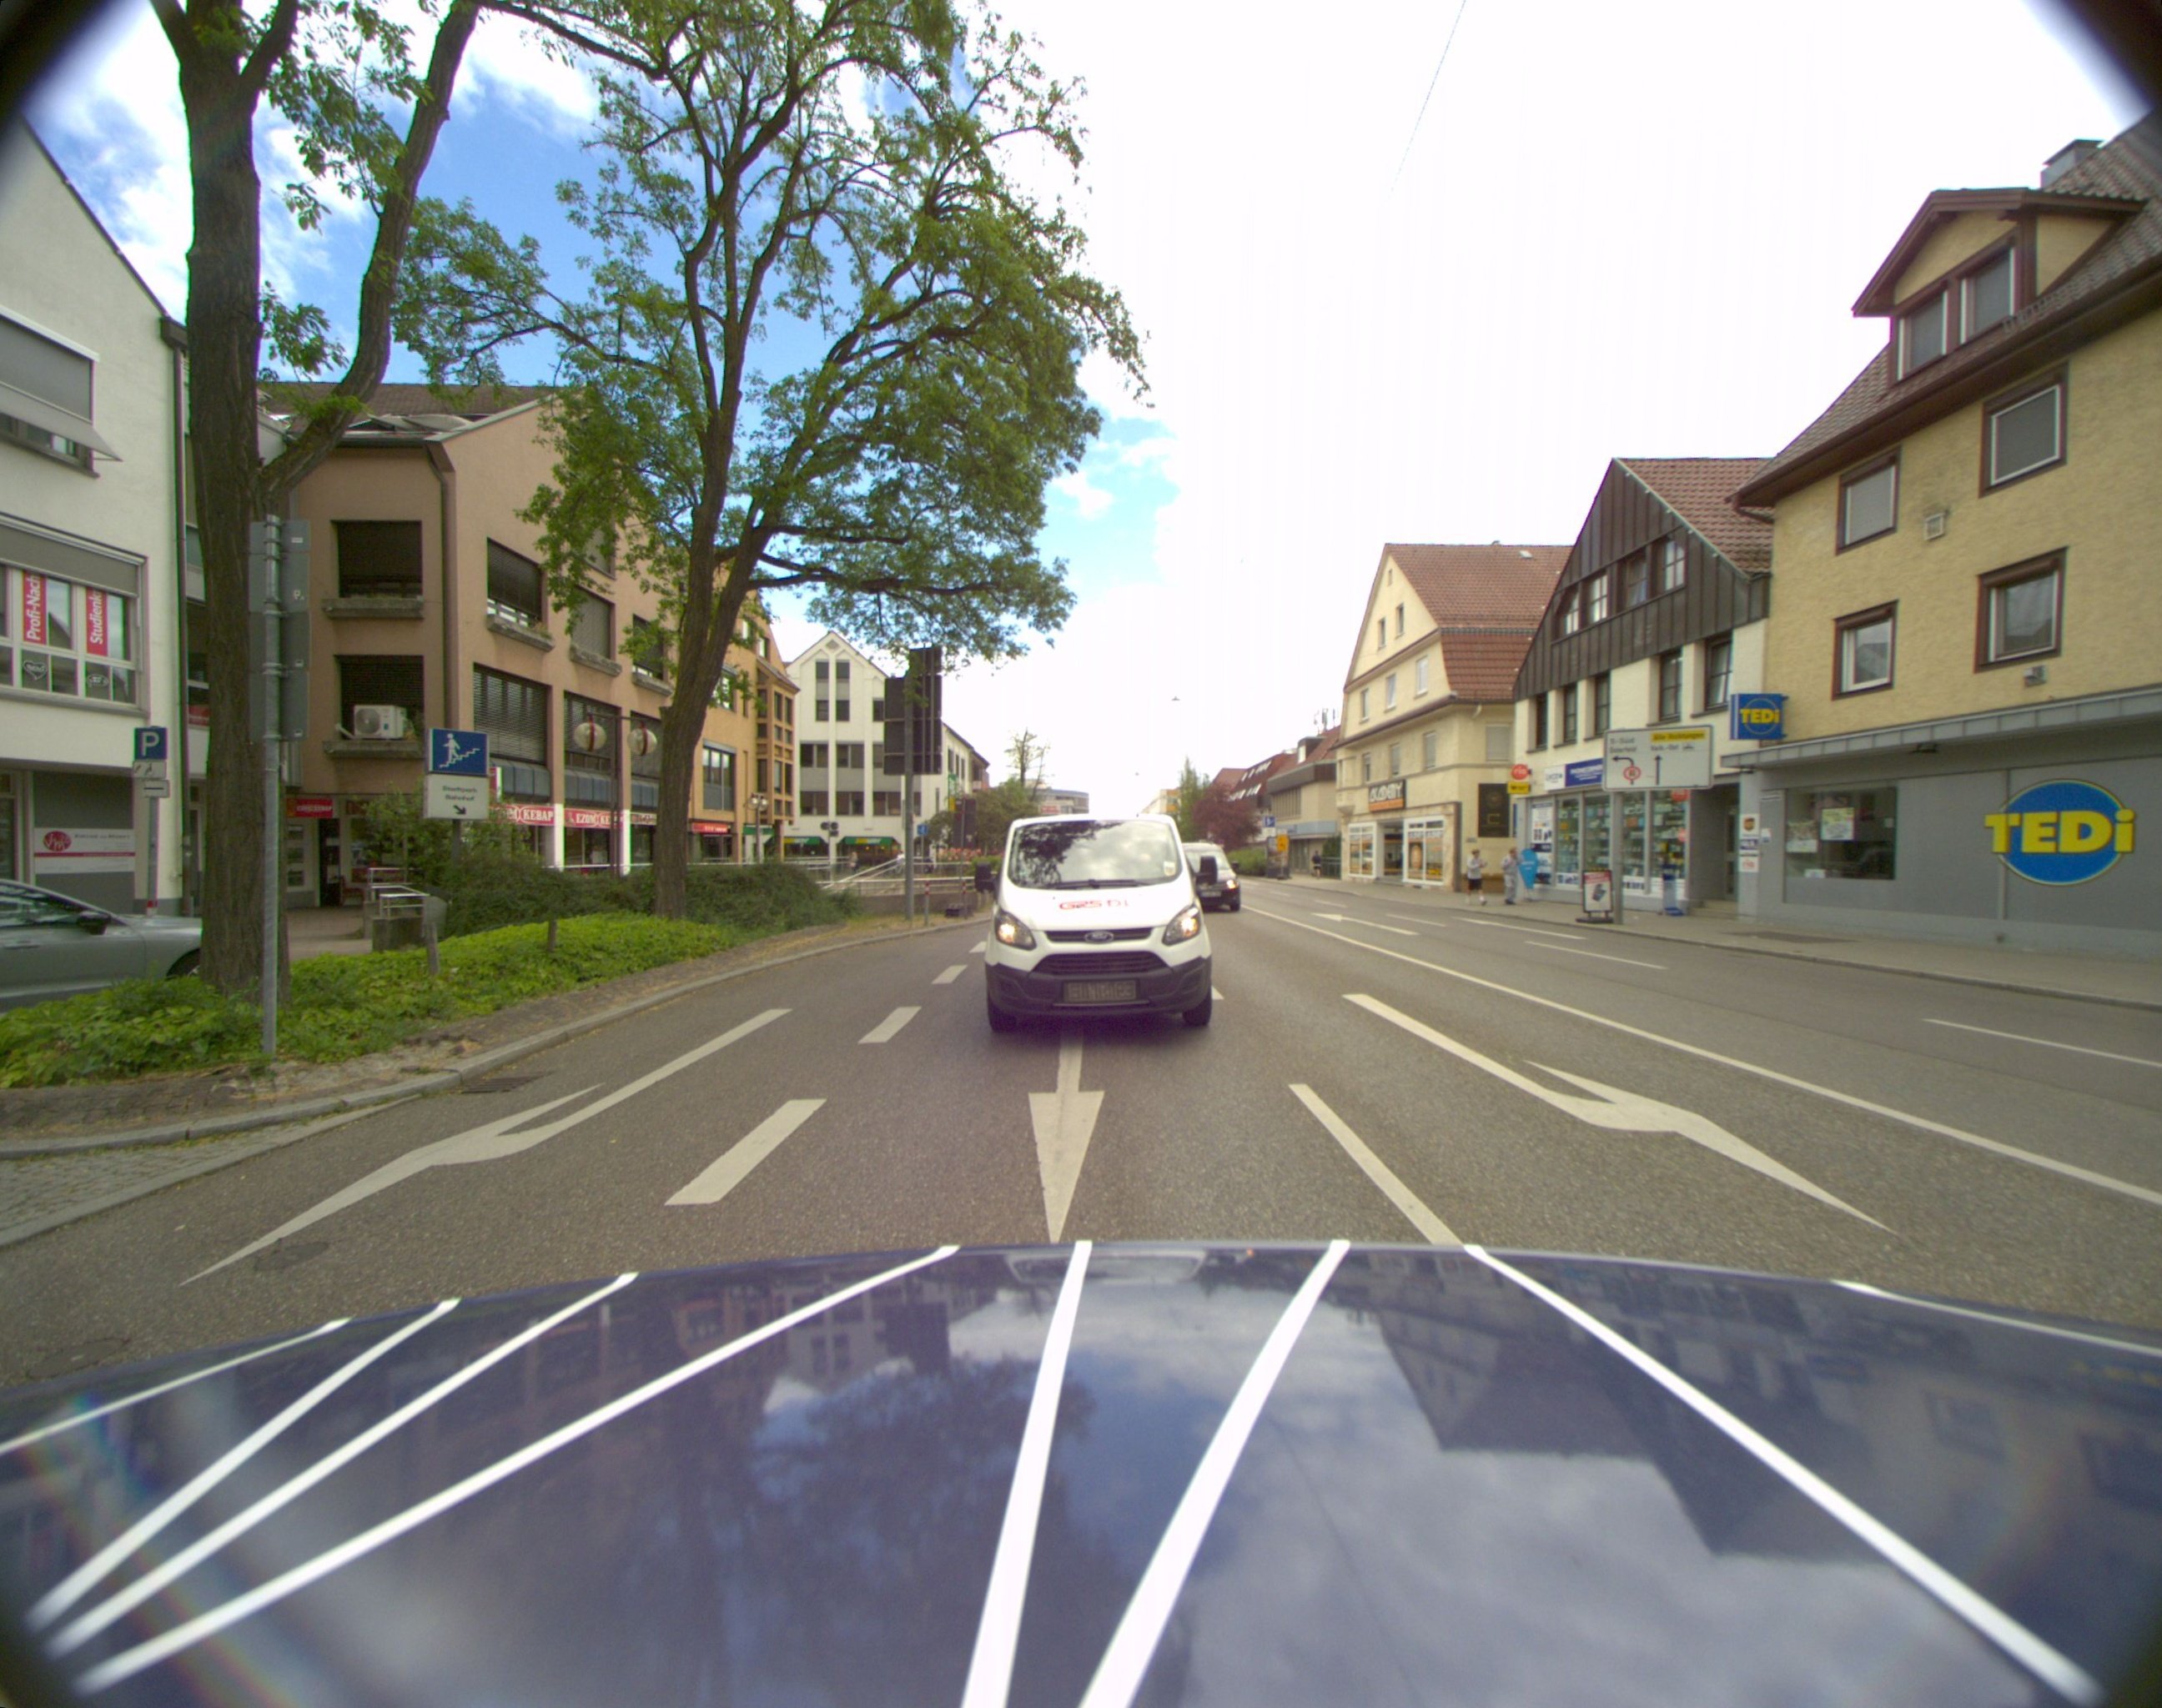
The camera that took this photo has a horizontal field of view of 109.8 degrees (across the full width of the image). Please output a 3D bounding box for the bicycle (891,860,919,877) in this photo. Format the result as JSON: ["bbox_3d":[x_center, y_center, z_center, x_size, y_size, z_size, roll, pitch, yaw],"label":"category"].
[{"bbox_3d":[-10.171,0.813,43.927,1.594,0.963,0.461,0,1,-14],"label":"bicycle"}]

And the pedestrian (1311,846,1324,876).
[{"bbox_3d":[14.634,0.427,46.958,0.551,1.878,0.592,-2,1,-3],"label":"pedestrian"}]

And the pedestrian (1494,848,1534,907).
[{"bbox_3d":[12.601,0.682,22.134,0.689,1.660,0.709,-3,1,1],"label":"pedestrian"}]

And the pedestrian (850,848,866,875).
[{"bbox_3d":[-14.629,0.471,49.825,0.887,1.747,0.943,0,1,-11],"label":"pedestrian"}]

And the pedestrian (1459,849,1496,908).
[{"bbox_3d":[11.644,0.715,22.335,0.689,1.680,0.742,-1,1,1],"label":"pedestrian"}]

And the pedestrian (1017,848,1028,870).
[{"bbox_3d":[-4.208,0.360,54.754,0.653,1.568,0.684,-1,1,1],"label":"pedestrian"}]

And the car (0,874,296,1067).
[{"bbox_3d":[-10.329,1.043,6.678,1.999,1.586,4.762,0,0,-2],"label":"car"}]

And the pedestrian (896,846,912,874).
[{"bbox_3d":[-11.659,0.366,50.061,0.871,1.812,0.785,-2,1,-3],"label":"pedestrian"}]

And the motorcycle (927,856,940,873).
[{"bbox_3d":[-9.579,0.696,49.360,0.464,1.062,1.995,0,0,1],"label":"motorcycle"}]

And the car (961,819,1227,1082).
[{"bbox_3d":[0.117,0.707,8.218,1.964,1.948,5.164,0,0,0],"label":"car"}]

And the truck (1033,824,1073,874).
[{"bbox_3d":[-2.052,-0.430,58.068,2.446,3.464,8.346,-2,1,1],"label":"truck"}]

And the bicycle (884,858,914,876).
[{"bbox_3d":[-10.342,0.757,43.193,1.594,0.996,0.414,0,1,-13],"label":"bicycle"}]

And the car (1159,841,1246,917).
[{"bbox_3d":[3.246,0.612,21.103,1.748,1.844,4.634,-2,0,1],"label":"car"}]
